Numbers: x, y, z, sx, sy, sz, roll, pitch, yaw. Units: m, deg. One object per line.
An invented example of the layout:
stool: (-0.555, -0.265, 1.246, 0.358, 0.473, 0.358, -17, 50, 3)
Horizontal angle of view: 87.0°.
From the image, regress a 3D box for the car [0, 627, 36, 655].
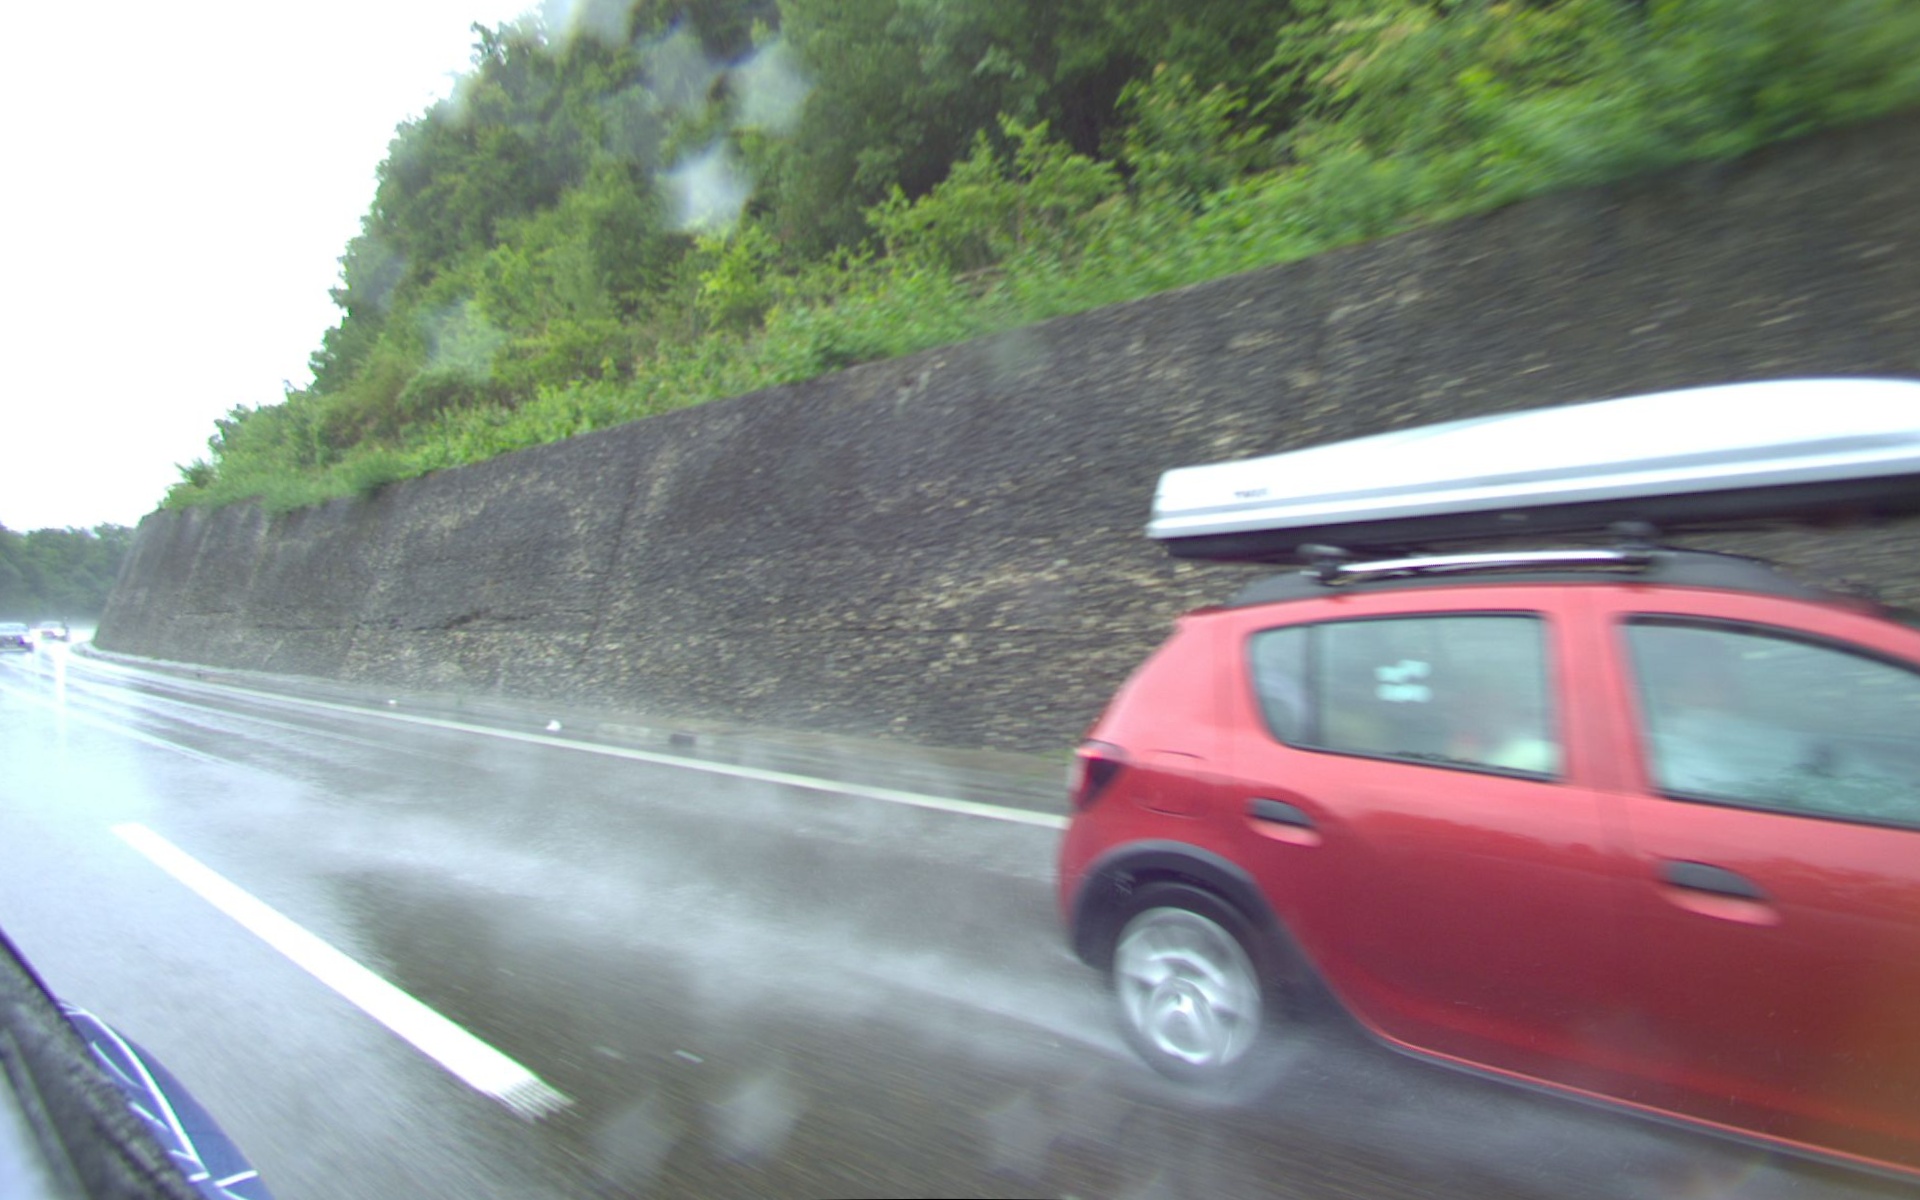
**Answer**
car: (-49.041, 2.107, 52.242, 1.800, 1.393, 4.006, 0, -1, -40)

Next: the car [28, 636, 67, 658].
car: (-66.005, 3.360, 73.228, 1.799, 1.393, 4.008, -3, 1, -38)

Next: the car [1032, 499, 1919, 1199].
car: (2.367, 0.599, 2.738, 4.001, 1.564, 1.971, -2, -2, 44)
